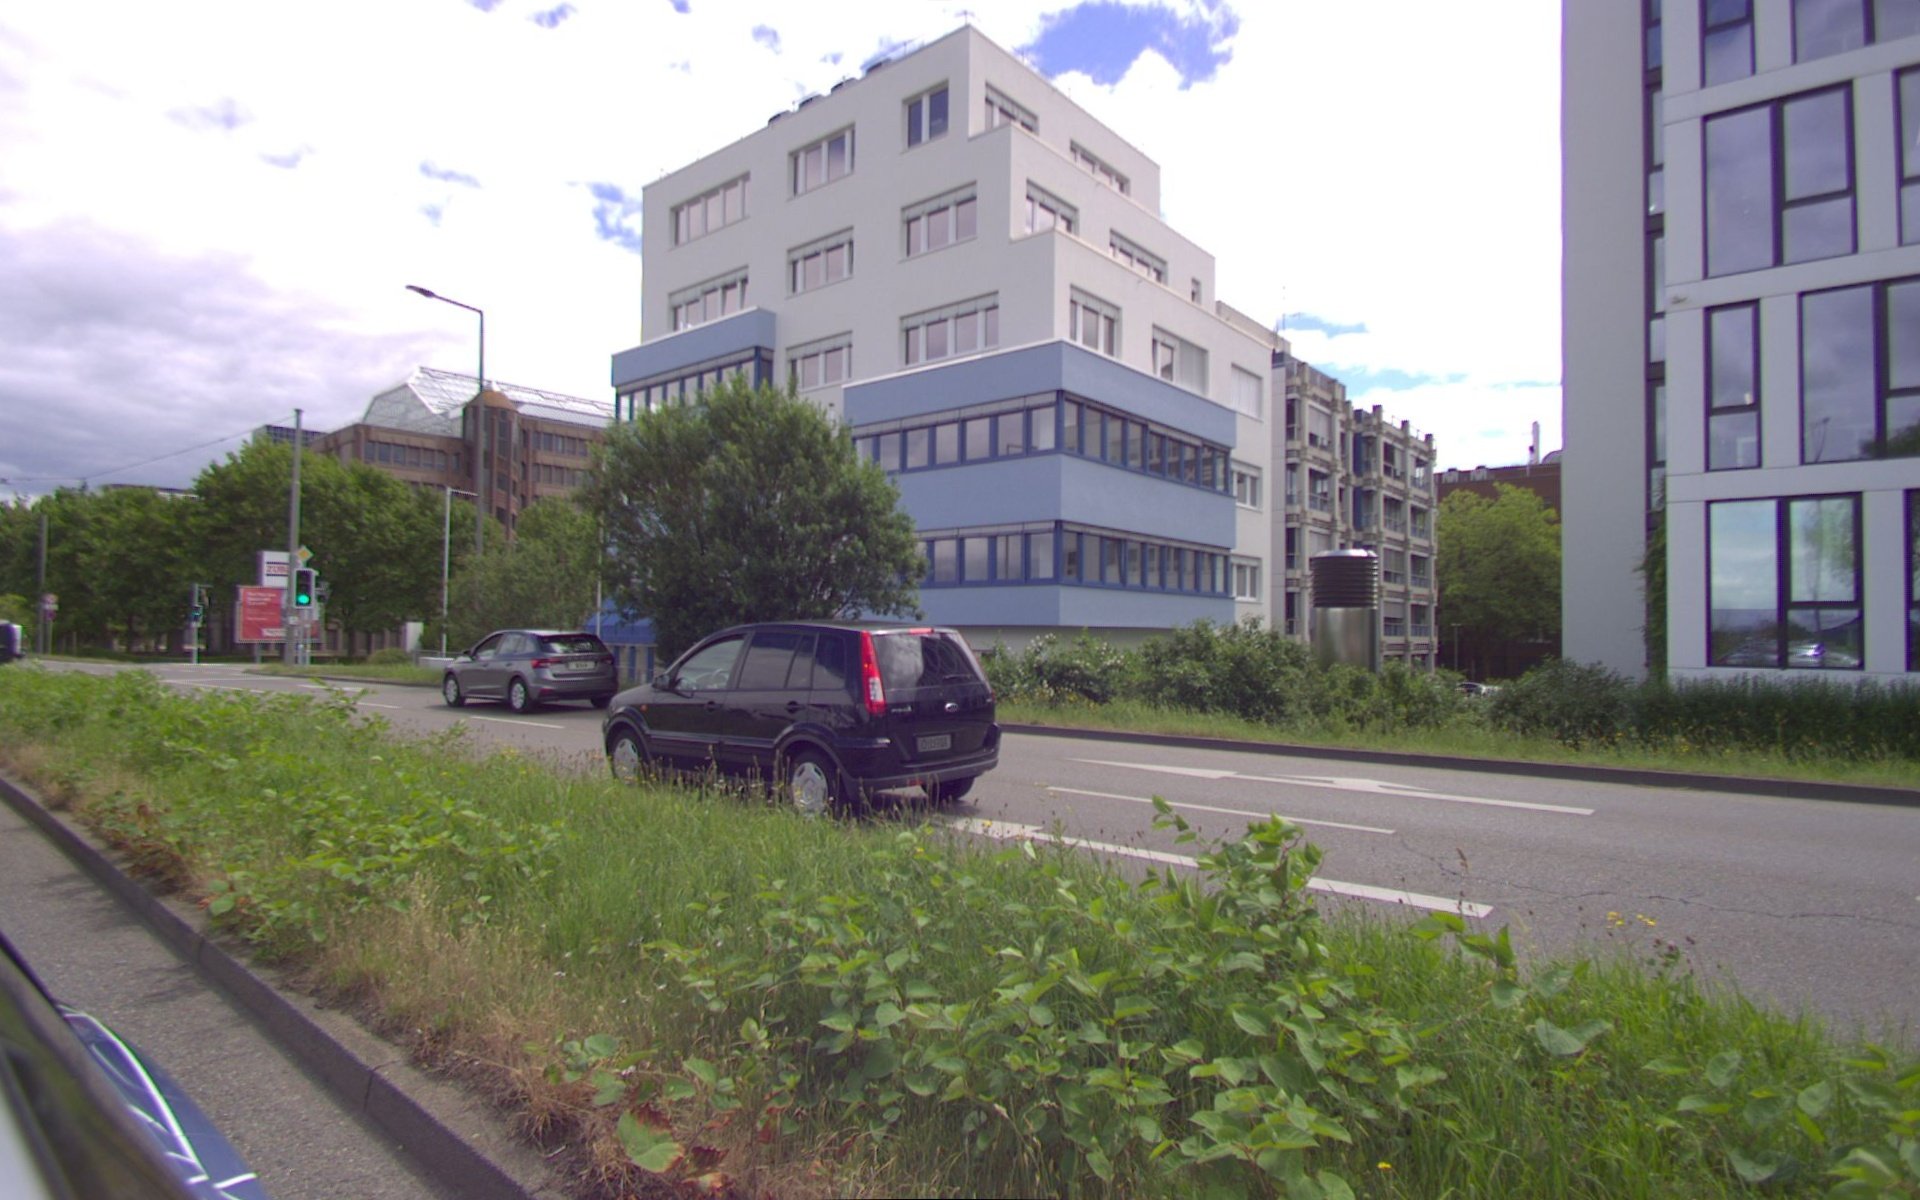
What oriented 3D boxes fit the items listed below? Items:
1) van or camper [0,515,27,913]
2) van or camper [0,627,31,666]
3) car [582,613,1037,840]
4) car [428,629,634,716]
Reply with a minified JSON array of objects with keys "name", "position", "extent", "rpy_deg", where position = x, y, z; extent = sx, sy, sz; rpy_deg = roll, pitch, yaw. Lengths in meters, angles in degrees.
[{"name":"van or camper","position":[-7.719,0.612,6.242],"extent":[5.792,2.029,1.974],"rpy_deg":[-2,-3,38]},{"name":"van or camper","position":[-52.036,2.492,54.641],"extent":[4.809,2.029,1.974],"rpy_deg":[-1,-2,38]},{"name":"car","position":[-1.442,0.894,8.641],"extent":[3.998,1.494,1.661],"rpy_deg":[-2,-2,41]},{"name":"car","position":[-7.910,1.246,18.513],"extent":[3.998,1.409,1.912],"rpy_deg":[-2,-2,41]}]
